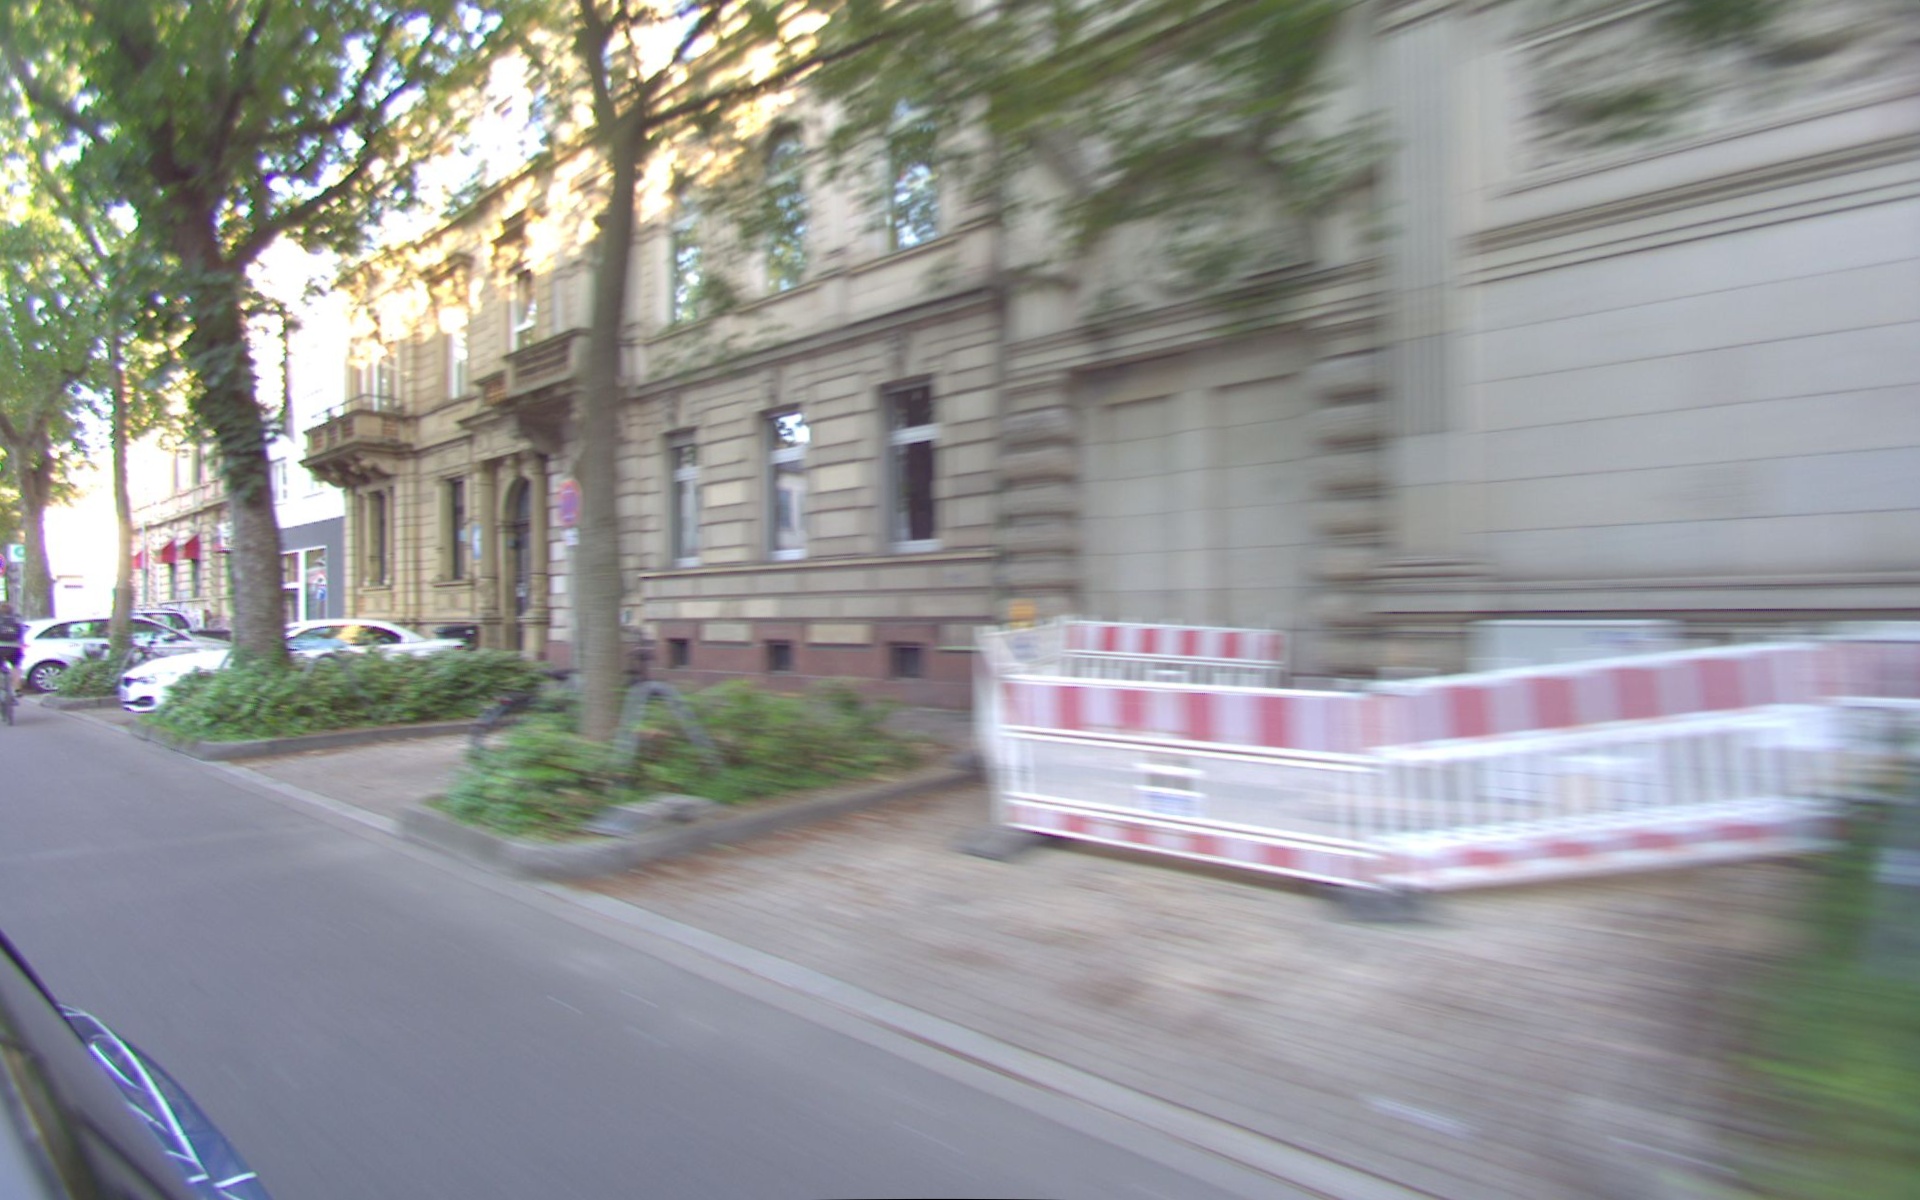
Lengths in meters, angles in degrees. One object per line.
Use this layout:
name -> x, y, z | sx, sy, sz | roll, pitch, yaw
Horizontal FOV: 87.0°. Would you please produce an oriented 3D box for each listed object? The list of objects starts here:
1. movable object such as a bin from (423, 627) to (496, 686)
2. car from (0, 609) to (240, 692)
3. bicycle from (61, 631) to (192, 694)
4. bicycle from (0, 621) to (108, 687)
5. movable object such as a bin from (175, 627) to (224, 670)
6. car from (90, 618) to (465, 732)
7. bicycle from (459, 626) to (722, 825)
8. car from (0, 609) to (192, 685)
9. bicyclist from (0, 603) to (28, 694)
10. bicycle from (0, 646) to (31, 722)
movable object such as a bin -> -9.728, 1.082, 19.661 | 1.316, 1.069, 0.792 | -2, 1, 41
car -> -18.331, 1.026, 21.991 | 1.827, 1.569, 4.124 | -1, -1, 44
bicycle -> -15.224, 1.125, 18.523 | 0.598, 1.016, 1.775 | -1, 0, 42
bicycle -> -20.074, 1.164, 22.356 | 0.772, 1.336, 1.779 | -2, -1, 35
movable object such as a bin -> -19.811, 1.239, 26.350 | 1.316, 1.070, 0.766 | -2, -1, 41
car -> -10.316, 1.032, 15.580 | 1.916, 1.401, 4.465 | -1, 0, 42
bicycle -> -2.644, 0.838, 7.401 | 1.750, 1.241, 0.500 | -1, 0, -44
car -> -23.678, 1.229, 27.290 | 1.889, 1.735, 4.381 | -2, 1, 39
bicyclist -> -13.669, 0.682, 14.307 | 0.648, 1.273, 0.665 | -2, -2, 43
bicycle -> -13.745, 1.176, 14.379 | 1.758, 1.001, 0.665 | -2, -2, 43
